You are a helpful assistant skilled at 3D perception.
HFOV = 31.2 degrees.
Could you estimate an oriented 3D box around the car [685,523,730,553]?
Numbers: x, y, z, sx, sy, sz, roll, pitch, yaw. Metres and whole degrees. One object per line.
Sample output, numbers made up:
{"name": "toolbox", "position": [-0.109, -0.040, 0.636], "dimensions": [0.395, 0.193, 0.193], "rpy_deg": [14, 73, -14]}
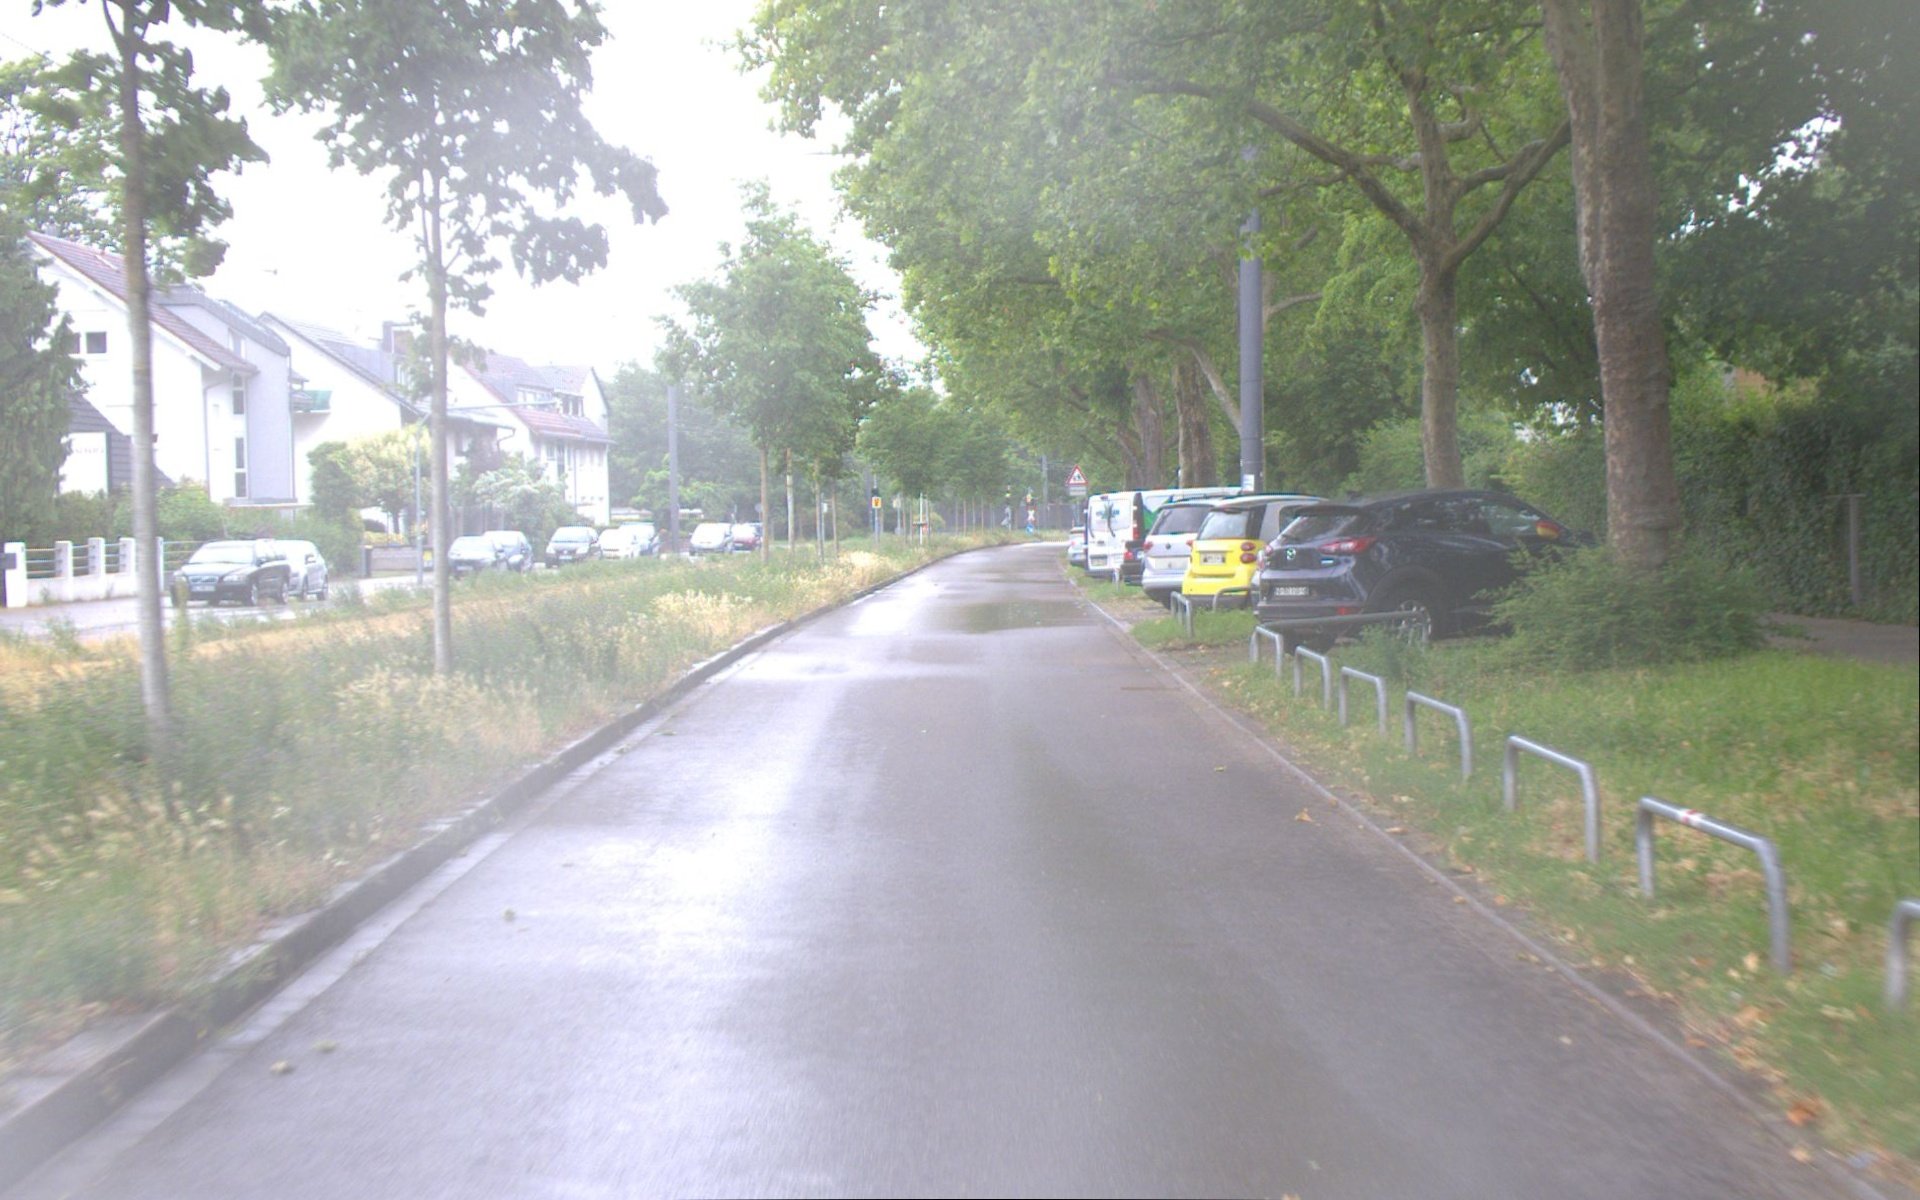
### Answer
{"name": "car", "position": [-12.771, -3.152, 174.231], "dimensions": [1.928, 1.481, 4.000], "rpy_deg": [0, 0, 1]}

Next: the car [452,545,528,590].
{"name": "car", "position": [-15.728, -1.076, 115.248], "dimensions": [1.928, 1.481, 4.000], "rpy_deg": [0, 0, 1]}

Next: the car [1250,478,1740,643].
{"name": "car", "position": [4.899, -0.355, 31.671], "dimensions": [3.986, 1.448, 2.001], "rpy_deg": [0, 0, -16]}

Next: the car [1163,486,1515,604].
{"name": "car", "position": [4.788, -0.686, 43.642], "dimensions": [3.986, 1.448, 2.001], "rpy_deg": [0, 0, -16]}

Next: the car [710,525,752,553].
{"name": "car", "position": [-12.538, -3.329, 188.207], "dimensions": [1.928, 1.481, 4.000], "rpy_deg": [0, 0, 1]}

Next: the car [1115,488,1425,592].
{"name": "car", "position": [4.430, -0.850, 49.382], "dimensions": [3.986, 1.448, 2.001], "rpy_deg": [0, 0, -16]}

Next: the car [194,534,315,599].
{"name": "car", "position": [-16.463, -0.766, 80.420], "dimensions": [1.928, 1.481, 4.000], "rpy_deg": [0, 0, 1]}

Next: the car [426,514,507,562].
{"name": "car", "position": [-15.766, -1.969, 110.015], "dimensions": [1.928, 1.481, 4.000], "rpy_deg": [0, 0, 1]}

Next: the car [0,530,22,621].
{"name": "car", "position": [-16.678, -0.394, 55.472], "dimensions": [1.928, 1.481, 4.000], "rpy_deg": [0, 0, 1]}

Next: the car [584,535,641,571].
{"name": "car", "position": [-14.576, -1.972, 144.356], "dimensions": [1.928, 1.481, 4.000], "rpy_deg": [0, 0, 1]}

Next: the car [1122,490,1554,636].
{"name": "car", "position": [3.887, -0.376, 35.577], "dimensions": [3.986, 1.448, 2.001], "rpy_deg": [0, 0, -16]}

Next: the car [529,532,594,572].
{"name": "car", "position": [-15.320, -1.838, 132.329], "dimensions": [1.928, 1.481, 4.000], "rpy_deg": [0, 0, 1]}

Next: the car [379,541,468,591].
{"name": "car", "position": [-15.979, -1.003, 102.572], "dimensions": [1.928, 1.481, 4.000], "rpy_deg": [0, 0, 1]}

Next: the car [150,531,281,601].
{"name": "car", "position": [-16.275, -0.738, 75.340], "dimensions": [1.928, 1.481, 4.000], "rpy_deg": [0, 0, 1]}

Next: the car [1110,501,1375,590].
{"name": "car", "position": [4.736, -0.898, 57.748], "dimensions": [3.986, 1.448, 2.001], "rpy_deg": [0, 0, -16]}

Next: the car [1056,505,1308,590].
{"name": "car", "position": [3.903, -0.914, 60.628], "dimensions": [3.986, 1.448, 2.001], "rpy_deg": [0, 0, -16]}
